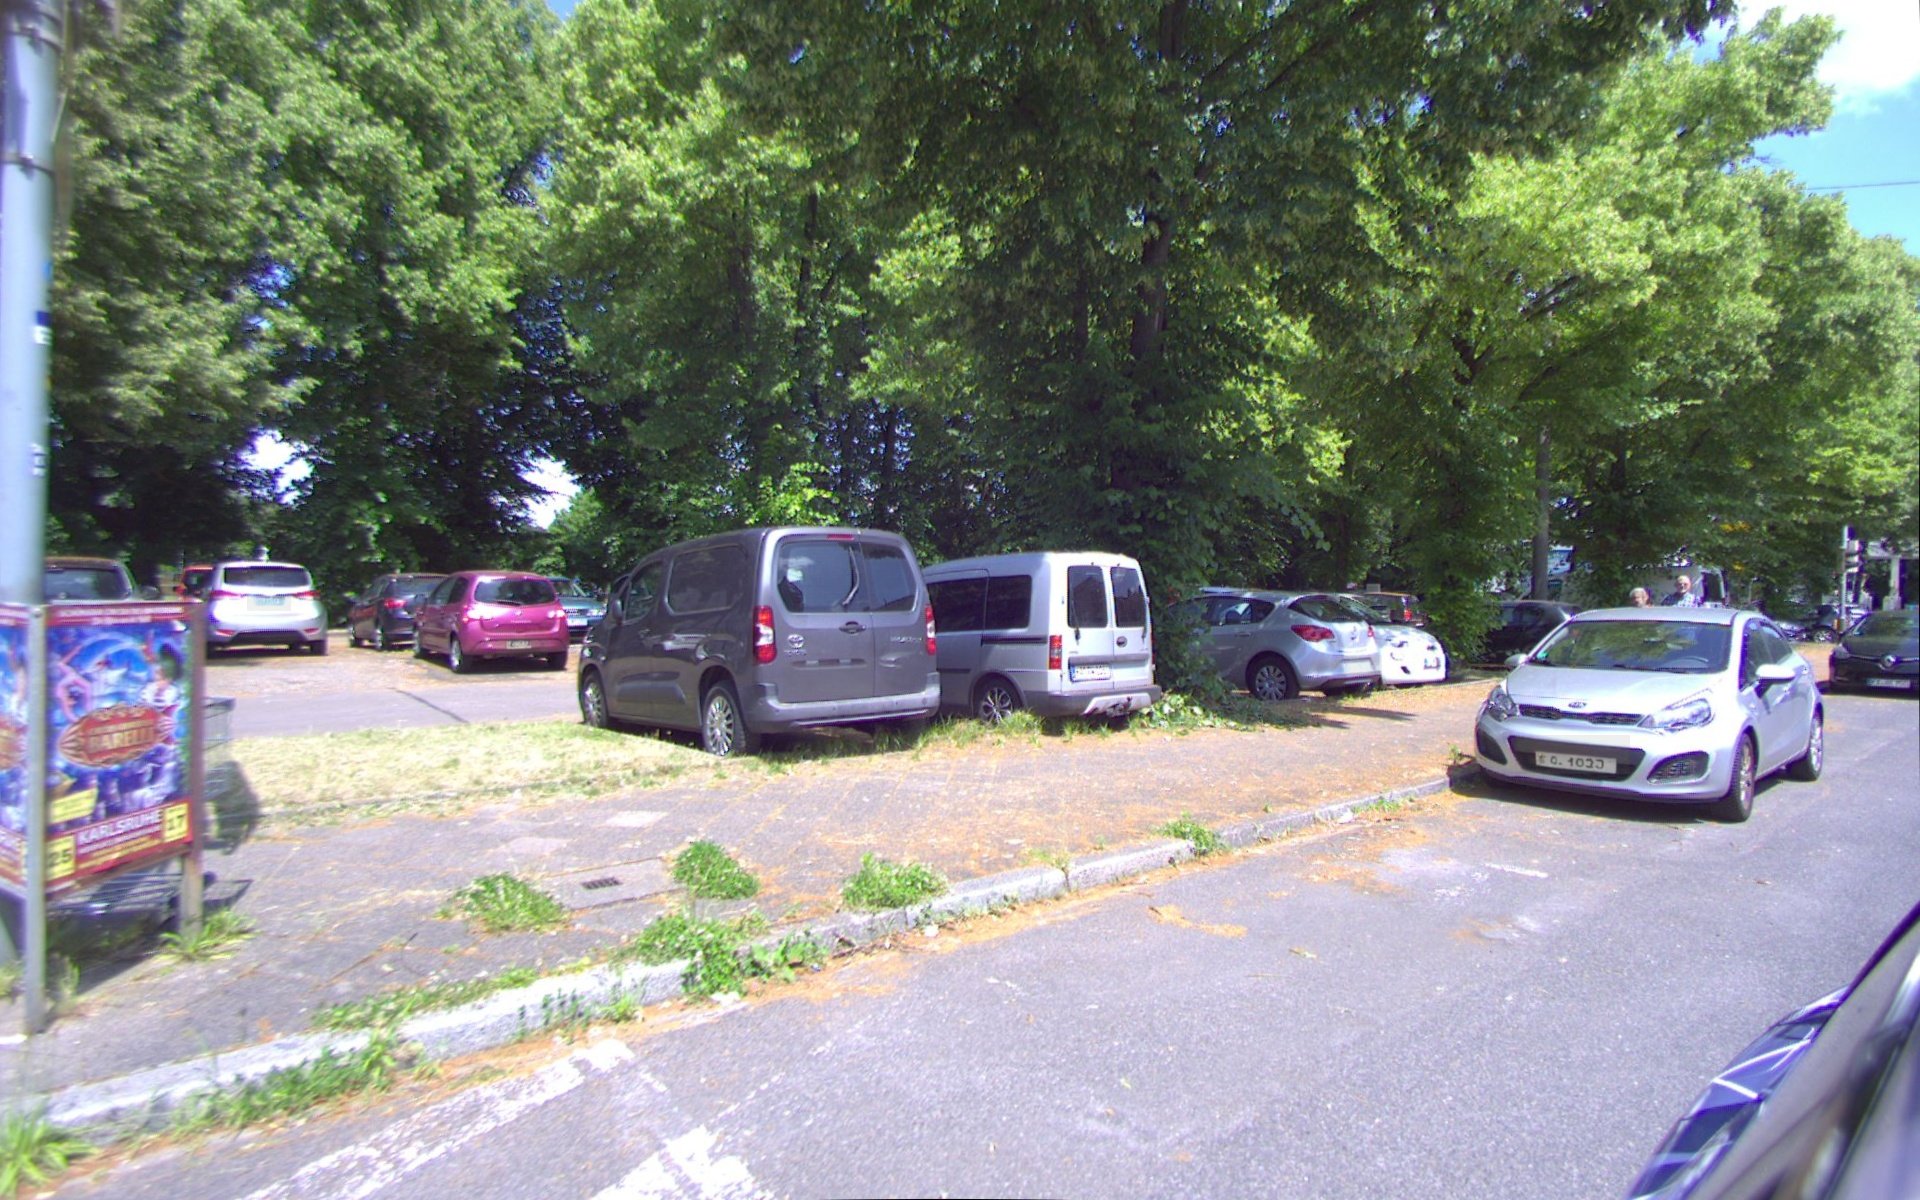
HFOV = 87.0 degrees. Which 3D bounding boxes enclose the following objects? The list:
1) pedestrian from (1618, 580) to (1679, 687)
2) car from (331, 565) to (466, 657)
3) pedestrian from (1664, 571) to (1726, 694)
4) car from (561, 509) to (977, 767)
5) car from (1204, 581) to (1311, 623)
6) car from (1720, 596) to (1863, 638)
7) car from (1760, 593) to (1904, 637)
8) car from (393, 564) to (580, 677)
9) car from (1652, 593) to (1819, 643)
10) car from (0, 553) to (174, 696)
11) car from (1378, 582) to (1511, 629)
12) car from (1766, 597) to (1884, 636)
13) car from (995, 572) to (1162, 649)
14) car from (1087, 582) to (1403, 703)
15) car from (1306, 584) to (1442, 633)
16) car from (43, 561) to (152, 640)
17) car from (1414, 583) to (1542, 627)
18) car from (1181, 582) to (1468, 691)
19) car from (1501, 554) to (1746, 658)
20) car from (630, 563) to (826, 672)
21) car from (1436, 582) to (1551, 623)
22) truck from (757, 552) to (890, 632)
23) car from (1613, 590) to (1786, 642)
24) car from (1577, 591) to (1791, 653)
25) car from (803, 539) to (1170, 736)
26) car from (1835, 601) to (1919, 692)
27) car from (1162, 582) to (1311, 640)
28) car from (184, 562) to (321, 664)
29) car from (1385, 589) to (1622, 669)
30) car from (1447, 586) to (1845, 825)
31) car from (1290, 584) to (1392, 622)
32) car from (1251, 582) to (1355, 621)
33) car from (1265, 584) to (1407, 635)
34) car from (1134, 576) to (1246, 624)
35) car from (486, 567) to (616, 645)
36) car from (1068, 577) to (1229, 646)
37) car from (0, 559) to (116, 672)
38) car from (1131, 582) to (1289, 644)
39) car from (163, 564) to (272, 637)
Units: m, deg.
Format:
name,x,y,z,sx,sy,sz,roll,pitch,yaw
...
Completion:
name,x,y,z,sx,sy,sz,roll,pitch,yaw
pedestrian,10.668,0.503,15.682,0.724,1.613,0.618,0,0,-41
car,-10.776,0.138,19.338,1.564,1.573,3.386,0,2,-42
pedestrian,11.055,0.469,15.220,0.724,1.786,0.618,0,0,-41
car,-1.900,0.243,9.117,1.981,1.773,3.994,0,0,-41
car,11.793,0.050,40.312,1.706,1.511,3.808,0,1,-37
car,29.316,0.568,35.769,3.833,1.375,1.605,0,0,42
car,32.458,0.515,37.779,1.597,1.555,3.774,0,0,-29
car,-7.670,0.225,16.218,1.652,1.547,3.994,0,2,-42
car,25.131,0.537,32.899,1.608,1.512,4.074,0,0,-41
car,-11.376,0.198,13.089,1.652,1.573,3.994,0,2,-42
car,18.628,0.184,39.057,1.787,1.607,4.260,0,2,-41
car,37.738,0.687,44.192,1.823,1.546,3.756,0,1,-43
car,2.846,0.200,24.970,1.772,1.682,3.998,0,2,-38
car,3.772,0.493,14.009,1.774,1.416,4.000,0,0,-35
car,14.301,0.247,35.097,1.772,1.491,3.998,0,2,-38
car,-20.533,-0.028,24.054,1.839,1.714,3.992,0,1,-42
car,20.867,0.171,40.888,4.253,1.607,1.790,3,2,44
car,5.630,0.479,16.044,1.638,1.446,3.996,0,1,-39
car,16.150,0.171,24.834,2.068,2.305,4.611,0,-1,-39
car,-4.247,0.217,18.140,1.673,1.699,3.992,0,2,-43
car,22.521,0.086,42.811,1.709,1.540,3.948,0,2,-44
truck,-3.588,-0.251,26.135,1.706,1.905,3.808,0,1,-38
car,22.792,0.480,31.311,1.608,1.513,4.073,0,-1,-41
car,19.129,0.564,26.879,1.777,1.513,4.331,0,-1,-41
car,0.139,0.271,10.585,1.636,1.688,3.766,0,1,-44
car,16.737,0.751,17.622,3.929,1.446,1.666,0,0,-40
car,8.118,0.273,30.027,1.772,1.491,3.998,0,2,-38
car,-12.338,0.149,17.576,1.564,1.573,3.386,0,2,-42
car,11.148,0.554,21.004,1.686,1.492,3.996,0,-1,-38
car,5.738,0.649,8.301,3.822,1.504,1.770,0,0,-41
car,16.474,0.107,43.898,1.706,1.483,3.809,0,2,-37
car,14.298,0.023,42.358,1.706,1.483,3.809,0,2,-37
car,12.265,0.271,33.203,1.772,1.491,3.998,0,2,-38
car,8.382,-0.030,37.115,1.706,1.607,3.809,0,2,-37
car,-8.671,0.134,21.276,1.657,1.486,3.913,1,-1,-36
car,4.889,0.249,26.745,1.772,1.606,3.998,0,2,-38
car,-14.168,0.168,15.692,1.564,1.573,3.068,0,2,-42
car,6.822,0.308,27.975,1.772,1.491,3.998,0,2,-38
car,-18.753,-0.038,25.724,1.683,1.688,3.808,-1,1,-28
